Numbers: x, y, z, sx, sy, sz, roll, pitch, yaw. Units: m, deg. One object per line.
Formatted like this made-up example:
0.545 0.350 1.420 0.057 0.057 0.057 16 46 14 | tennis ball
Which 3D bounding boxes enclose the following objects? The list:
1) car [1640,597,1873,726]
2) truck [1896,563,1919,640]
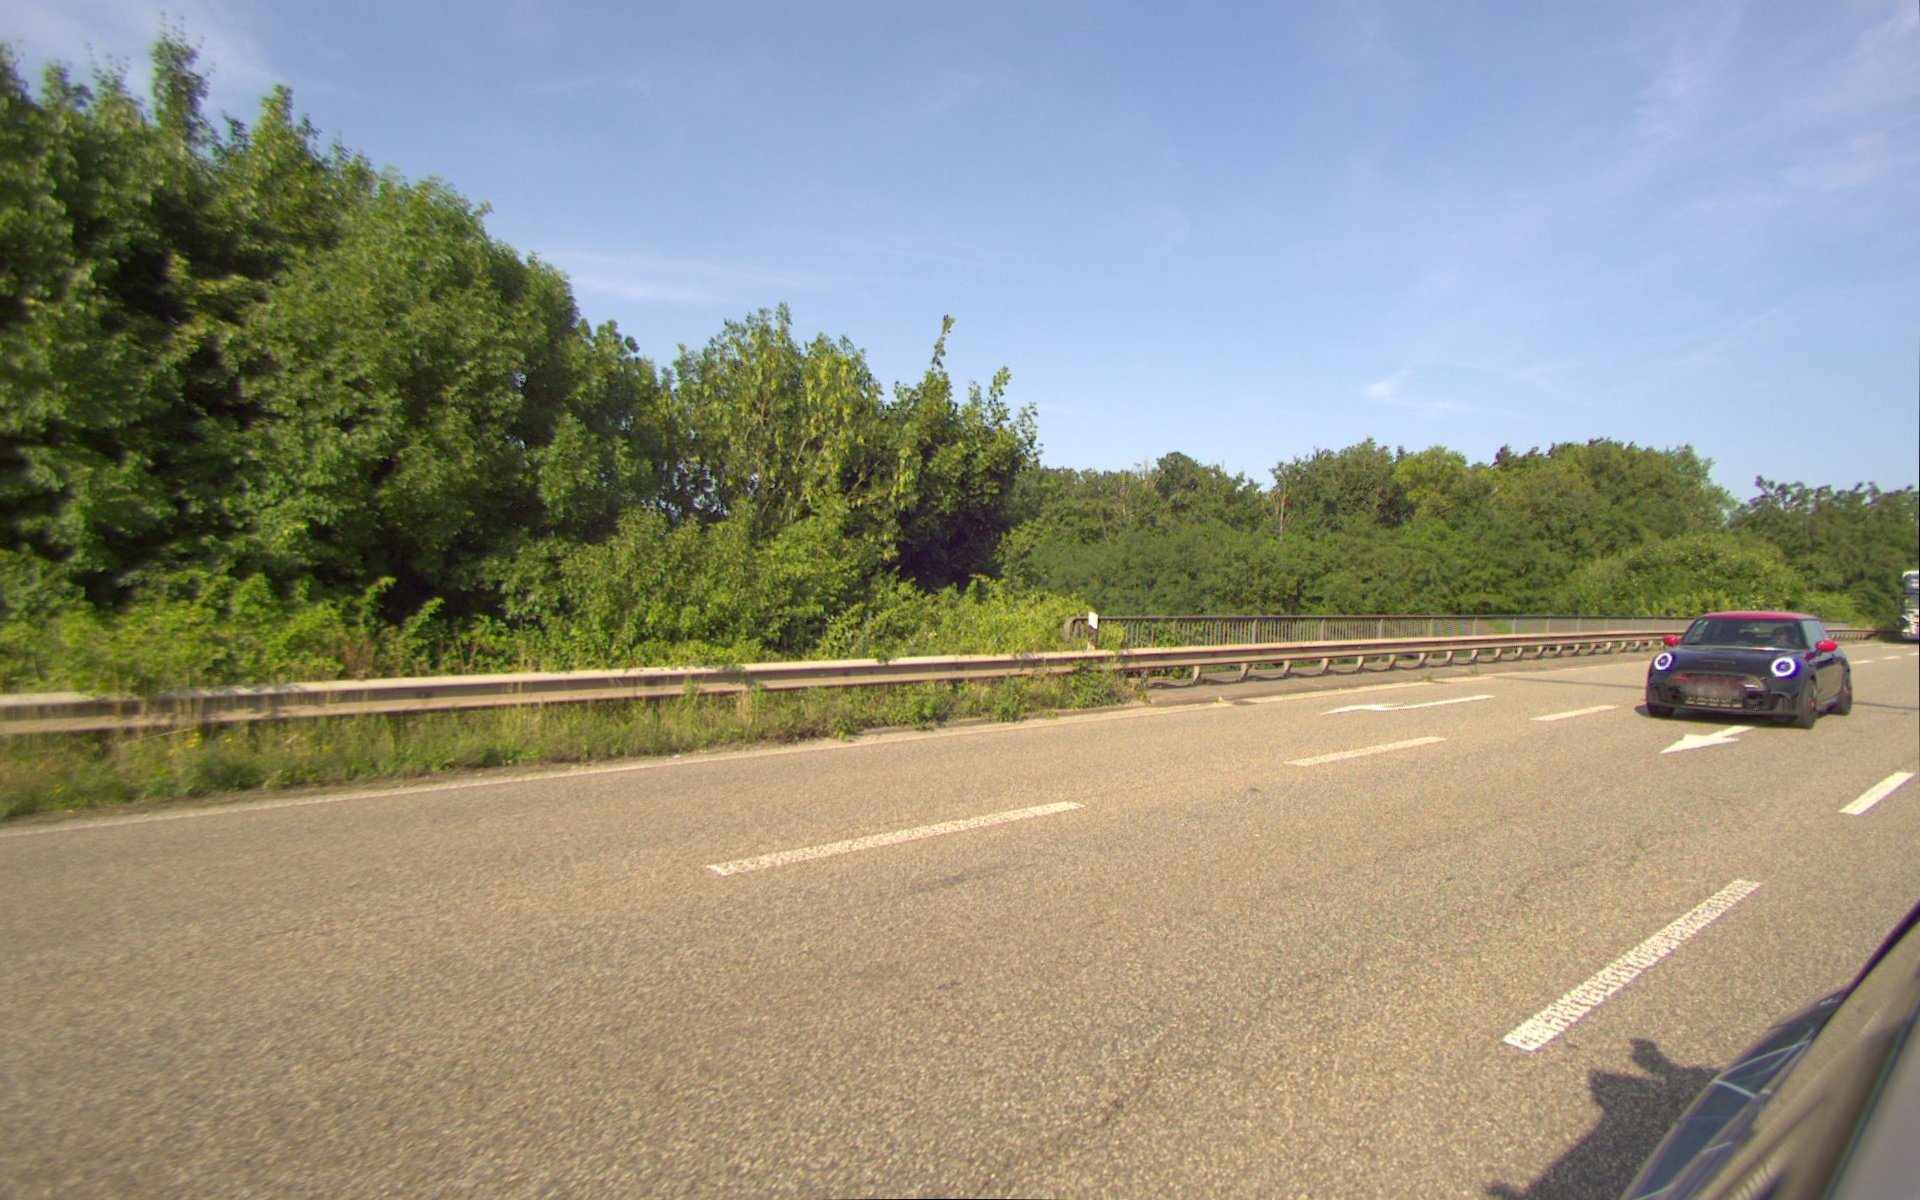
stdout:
11.027 0.724 13.936 3.805 1.486 1.823 -1 0 -41 | car
56.556 0.026 57.595 14.308 4.069 3.194 -1 0 -41 | truck
